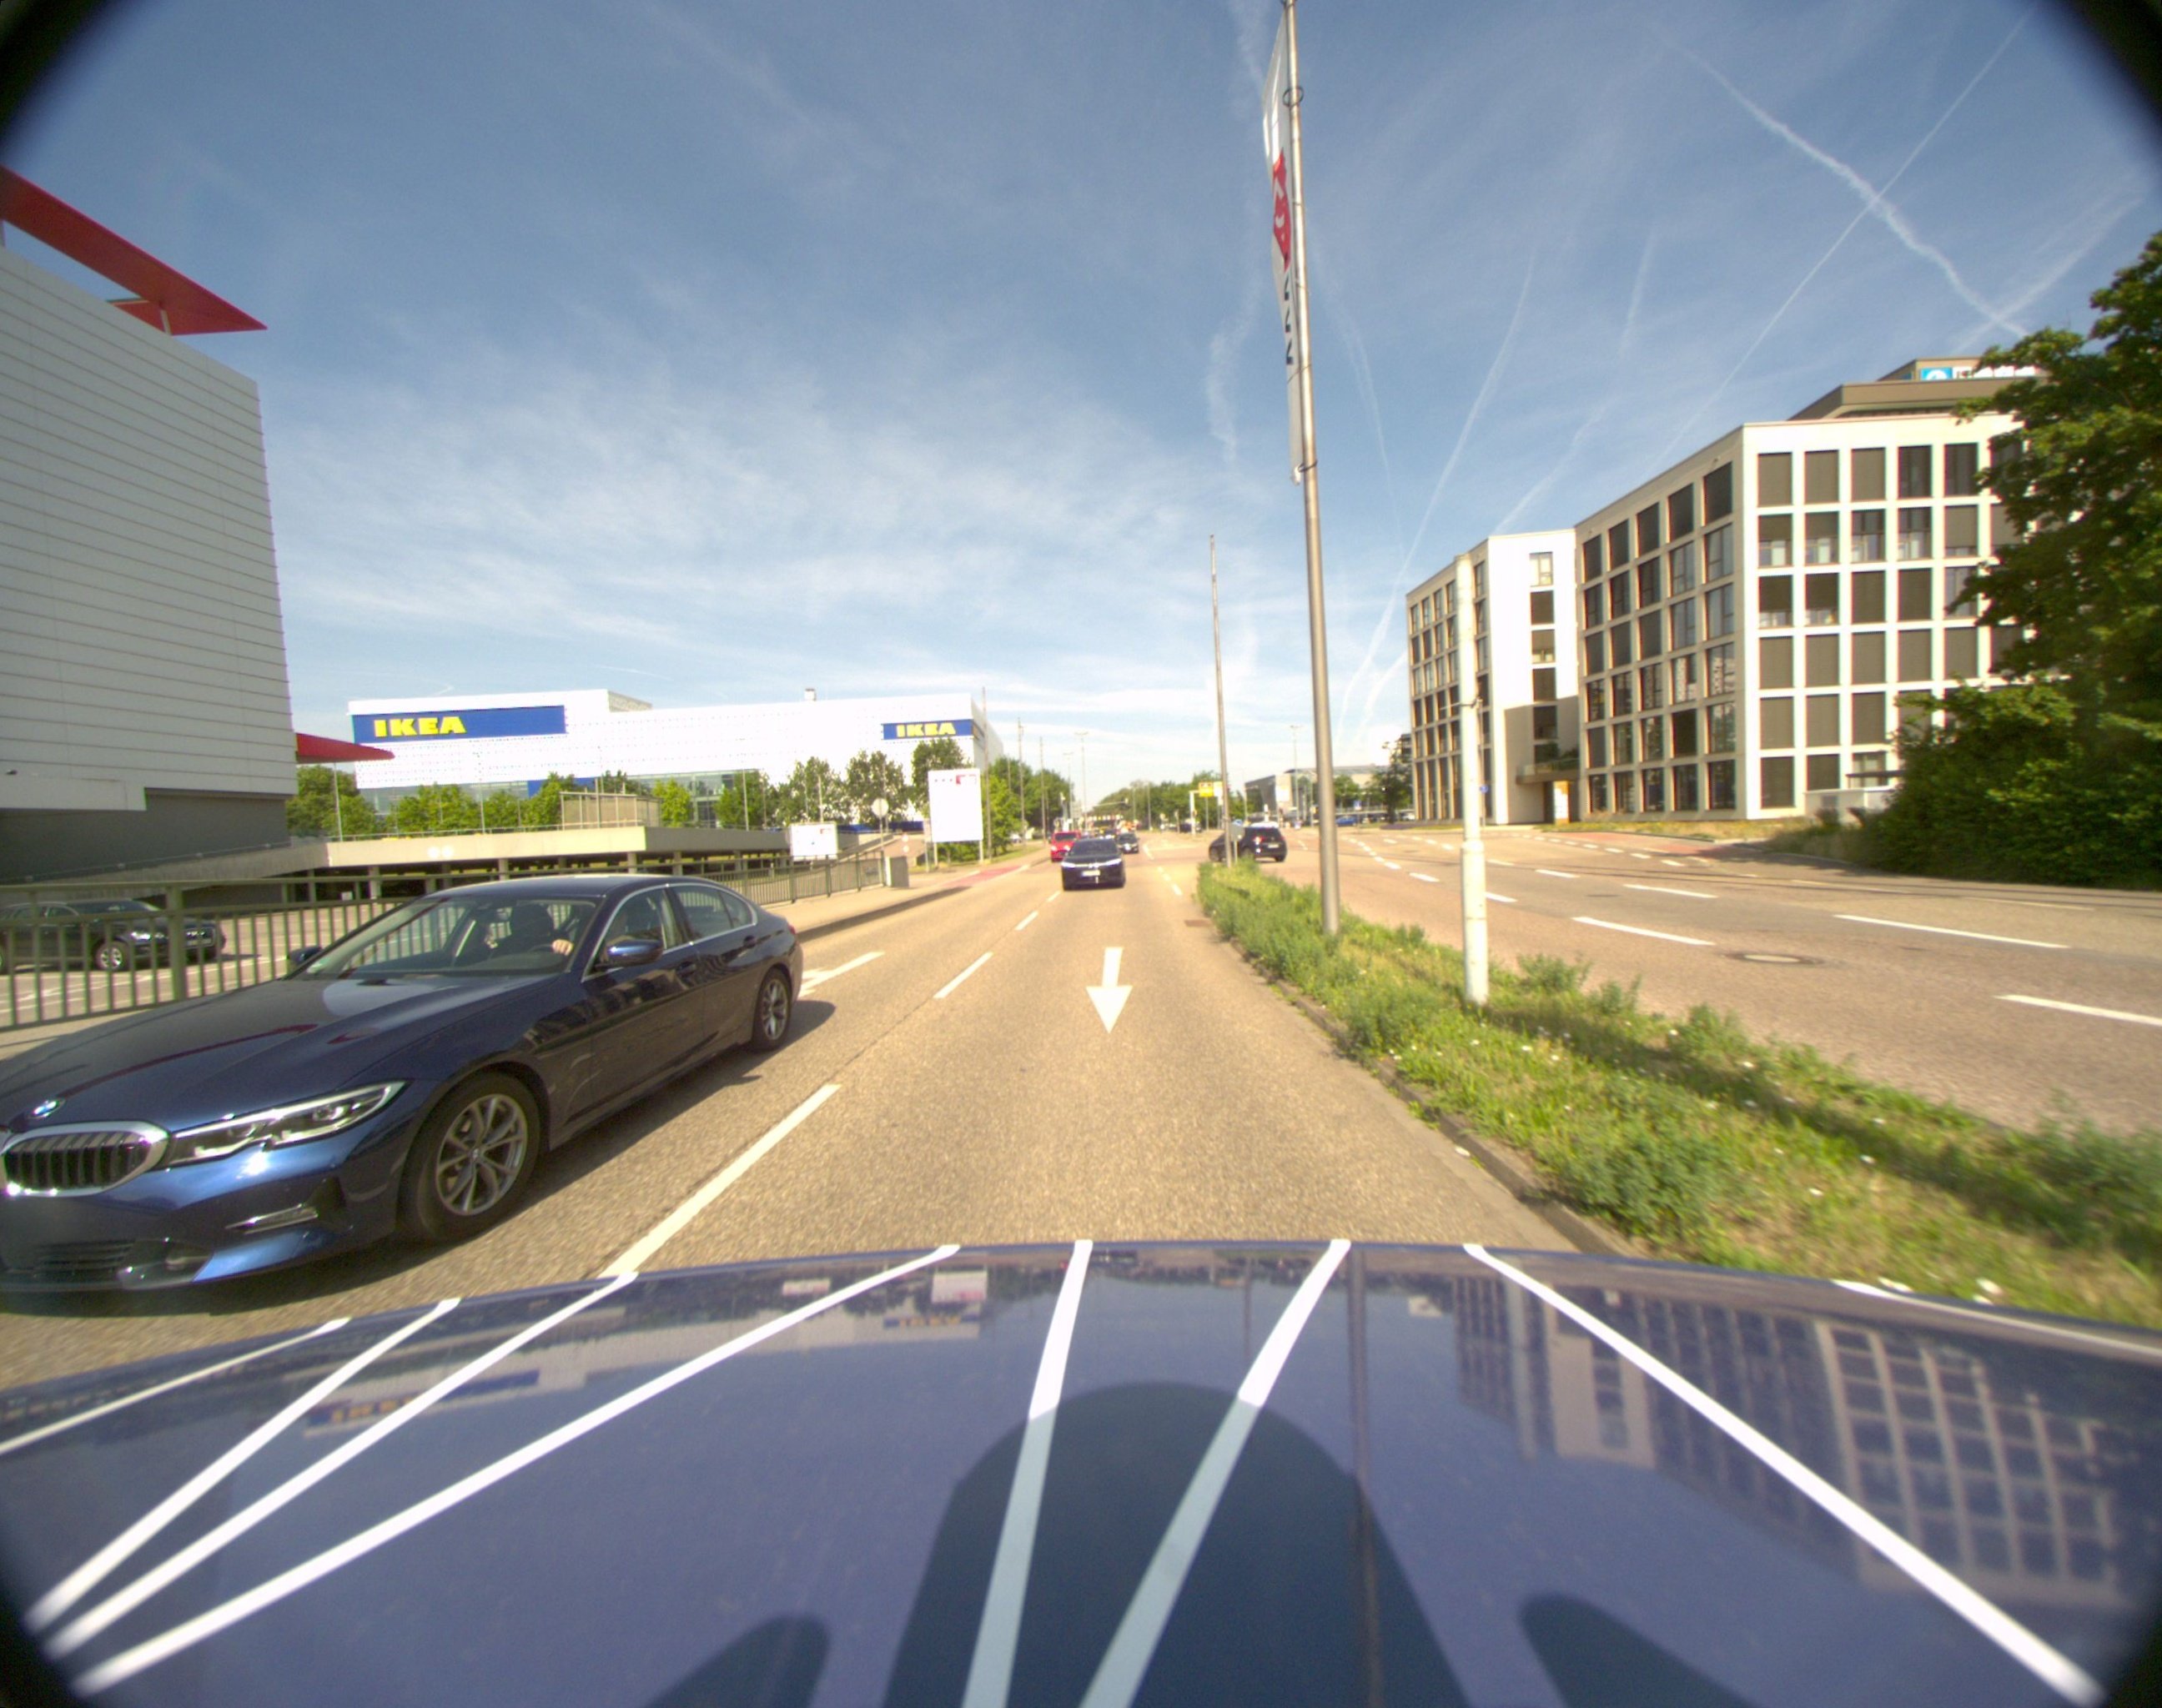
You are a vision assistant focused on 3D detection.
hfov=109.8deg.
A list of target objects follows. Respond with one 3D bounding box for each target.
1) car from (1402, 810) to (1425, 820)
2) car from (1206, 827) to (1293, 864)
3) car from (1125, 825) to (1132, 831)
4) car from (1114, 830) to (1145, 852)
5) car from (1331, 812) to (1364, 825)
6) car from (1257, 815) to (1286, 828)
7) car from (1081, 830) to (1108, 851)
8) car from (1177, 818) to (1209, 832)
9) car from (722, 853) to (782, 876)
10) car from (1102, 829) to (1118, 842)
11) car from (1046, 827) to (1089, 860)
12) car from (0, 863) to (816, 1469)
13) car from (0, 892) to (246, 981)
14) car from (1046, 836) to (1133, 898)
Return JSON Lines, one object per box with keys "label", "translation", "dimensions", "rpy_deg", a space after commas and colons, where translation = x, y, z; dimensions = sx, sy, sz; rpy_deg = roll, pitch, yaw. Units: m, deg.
{"label": "car", "translation": [54.351, -6.401, 124.335], "dimensions": [1.811, 1.563, 3.937], "rpy_deg": [-2, 2, -2]}
{"label": "car", "translation": [7.529, -0.412, 34.308], "dimensions": [1.864, 1.521, 4.136], "rpy_deg": [-3, 2, -20]}
{"label": "car", "translation": [13.138, -7.177, 210.909], "dimensions": [1.866, 1.617, 3.999], "rpy_deg": [-2, 2, 3]}
{"label": "car", "translation": [3.596, -0.988, 55.410], "dimensions": [1.848, 1.411, 4.000], "rpy_deg": [-1, 4, 9]}
{"label": "car", "translation": [40.018, -5.320, 114.172], "dimensions": [4.390, 1.837, 1.812], "rpy_deg": [-2, 2, 6]}
{"label": "car", "translation": [29.952, -5.071, 119.272], "dimensions": [4.388, 1.837, 1.813], "rpy_deg": [-2, 2, 15]}
{"label": "car", "translation": [1.195, -1.197, 66.740], "dimensions": [1.776, 1.649, 4.144], "rpy_deg": [-3, 2, 8]}
{"label": "car", "translation": [17.252, -4.461, 116.803], "dimensions": [4.384, 1.837, 1.815], "rpy_deg": [-1, 3, 30]}
{"label": "car", "translation": [-28.877, 0.896, 66.776], "dimensions": [4.317, 1.823, 1.999], "rpy_deg": [-3, 0, -5]}
{"label": "car", "translation": [3.454, -2.300, 91.990], "dimensions": [1.825, 1.466, 3.999], "rpy_deg": [-2, 2, 1]}
{"label": "car", "translation": [-0.827, -0.725, 49.777], "dimensions": [1.987, 1.896, 4.145], "rpy_deg": [-3, 2, 9]}
{"label": "car", "translation": [-3.342, 0.947, 4.399], "dimensions": [1.791, 1.475, 4.518], "rpy_deg": [-3, 2, 2]}
{"label": "car", "translation": [-22.894, 1.937, 18.104], "dimensions": [4.411, 1.723, 1.863], "rpy_deg": [-3, 2, 10]}
{"label": "car", "translation": [0.365, 0.316, 22.762], "dimensions": [1.859, 1.521, 4.145], "rpy_deg": [-3, 2, 10]}
